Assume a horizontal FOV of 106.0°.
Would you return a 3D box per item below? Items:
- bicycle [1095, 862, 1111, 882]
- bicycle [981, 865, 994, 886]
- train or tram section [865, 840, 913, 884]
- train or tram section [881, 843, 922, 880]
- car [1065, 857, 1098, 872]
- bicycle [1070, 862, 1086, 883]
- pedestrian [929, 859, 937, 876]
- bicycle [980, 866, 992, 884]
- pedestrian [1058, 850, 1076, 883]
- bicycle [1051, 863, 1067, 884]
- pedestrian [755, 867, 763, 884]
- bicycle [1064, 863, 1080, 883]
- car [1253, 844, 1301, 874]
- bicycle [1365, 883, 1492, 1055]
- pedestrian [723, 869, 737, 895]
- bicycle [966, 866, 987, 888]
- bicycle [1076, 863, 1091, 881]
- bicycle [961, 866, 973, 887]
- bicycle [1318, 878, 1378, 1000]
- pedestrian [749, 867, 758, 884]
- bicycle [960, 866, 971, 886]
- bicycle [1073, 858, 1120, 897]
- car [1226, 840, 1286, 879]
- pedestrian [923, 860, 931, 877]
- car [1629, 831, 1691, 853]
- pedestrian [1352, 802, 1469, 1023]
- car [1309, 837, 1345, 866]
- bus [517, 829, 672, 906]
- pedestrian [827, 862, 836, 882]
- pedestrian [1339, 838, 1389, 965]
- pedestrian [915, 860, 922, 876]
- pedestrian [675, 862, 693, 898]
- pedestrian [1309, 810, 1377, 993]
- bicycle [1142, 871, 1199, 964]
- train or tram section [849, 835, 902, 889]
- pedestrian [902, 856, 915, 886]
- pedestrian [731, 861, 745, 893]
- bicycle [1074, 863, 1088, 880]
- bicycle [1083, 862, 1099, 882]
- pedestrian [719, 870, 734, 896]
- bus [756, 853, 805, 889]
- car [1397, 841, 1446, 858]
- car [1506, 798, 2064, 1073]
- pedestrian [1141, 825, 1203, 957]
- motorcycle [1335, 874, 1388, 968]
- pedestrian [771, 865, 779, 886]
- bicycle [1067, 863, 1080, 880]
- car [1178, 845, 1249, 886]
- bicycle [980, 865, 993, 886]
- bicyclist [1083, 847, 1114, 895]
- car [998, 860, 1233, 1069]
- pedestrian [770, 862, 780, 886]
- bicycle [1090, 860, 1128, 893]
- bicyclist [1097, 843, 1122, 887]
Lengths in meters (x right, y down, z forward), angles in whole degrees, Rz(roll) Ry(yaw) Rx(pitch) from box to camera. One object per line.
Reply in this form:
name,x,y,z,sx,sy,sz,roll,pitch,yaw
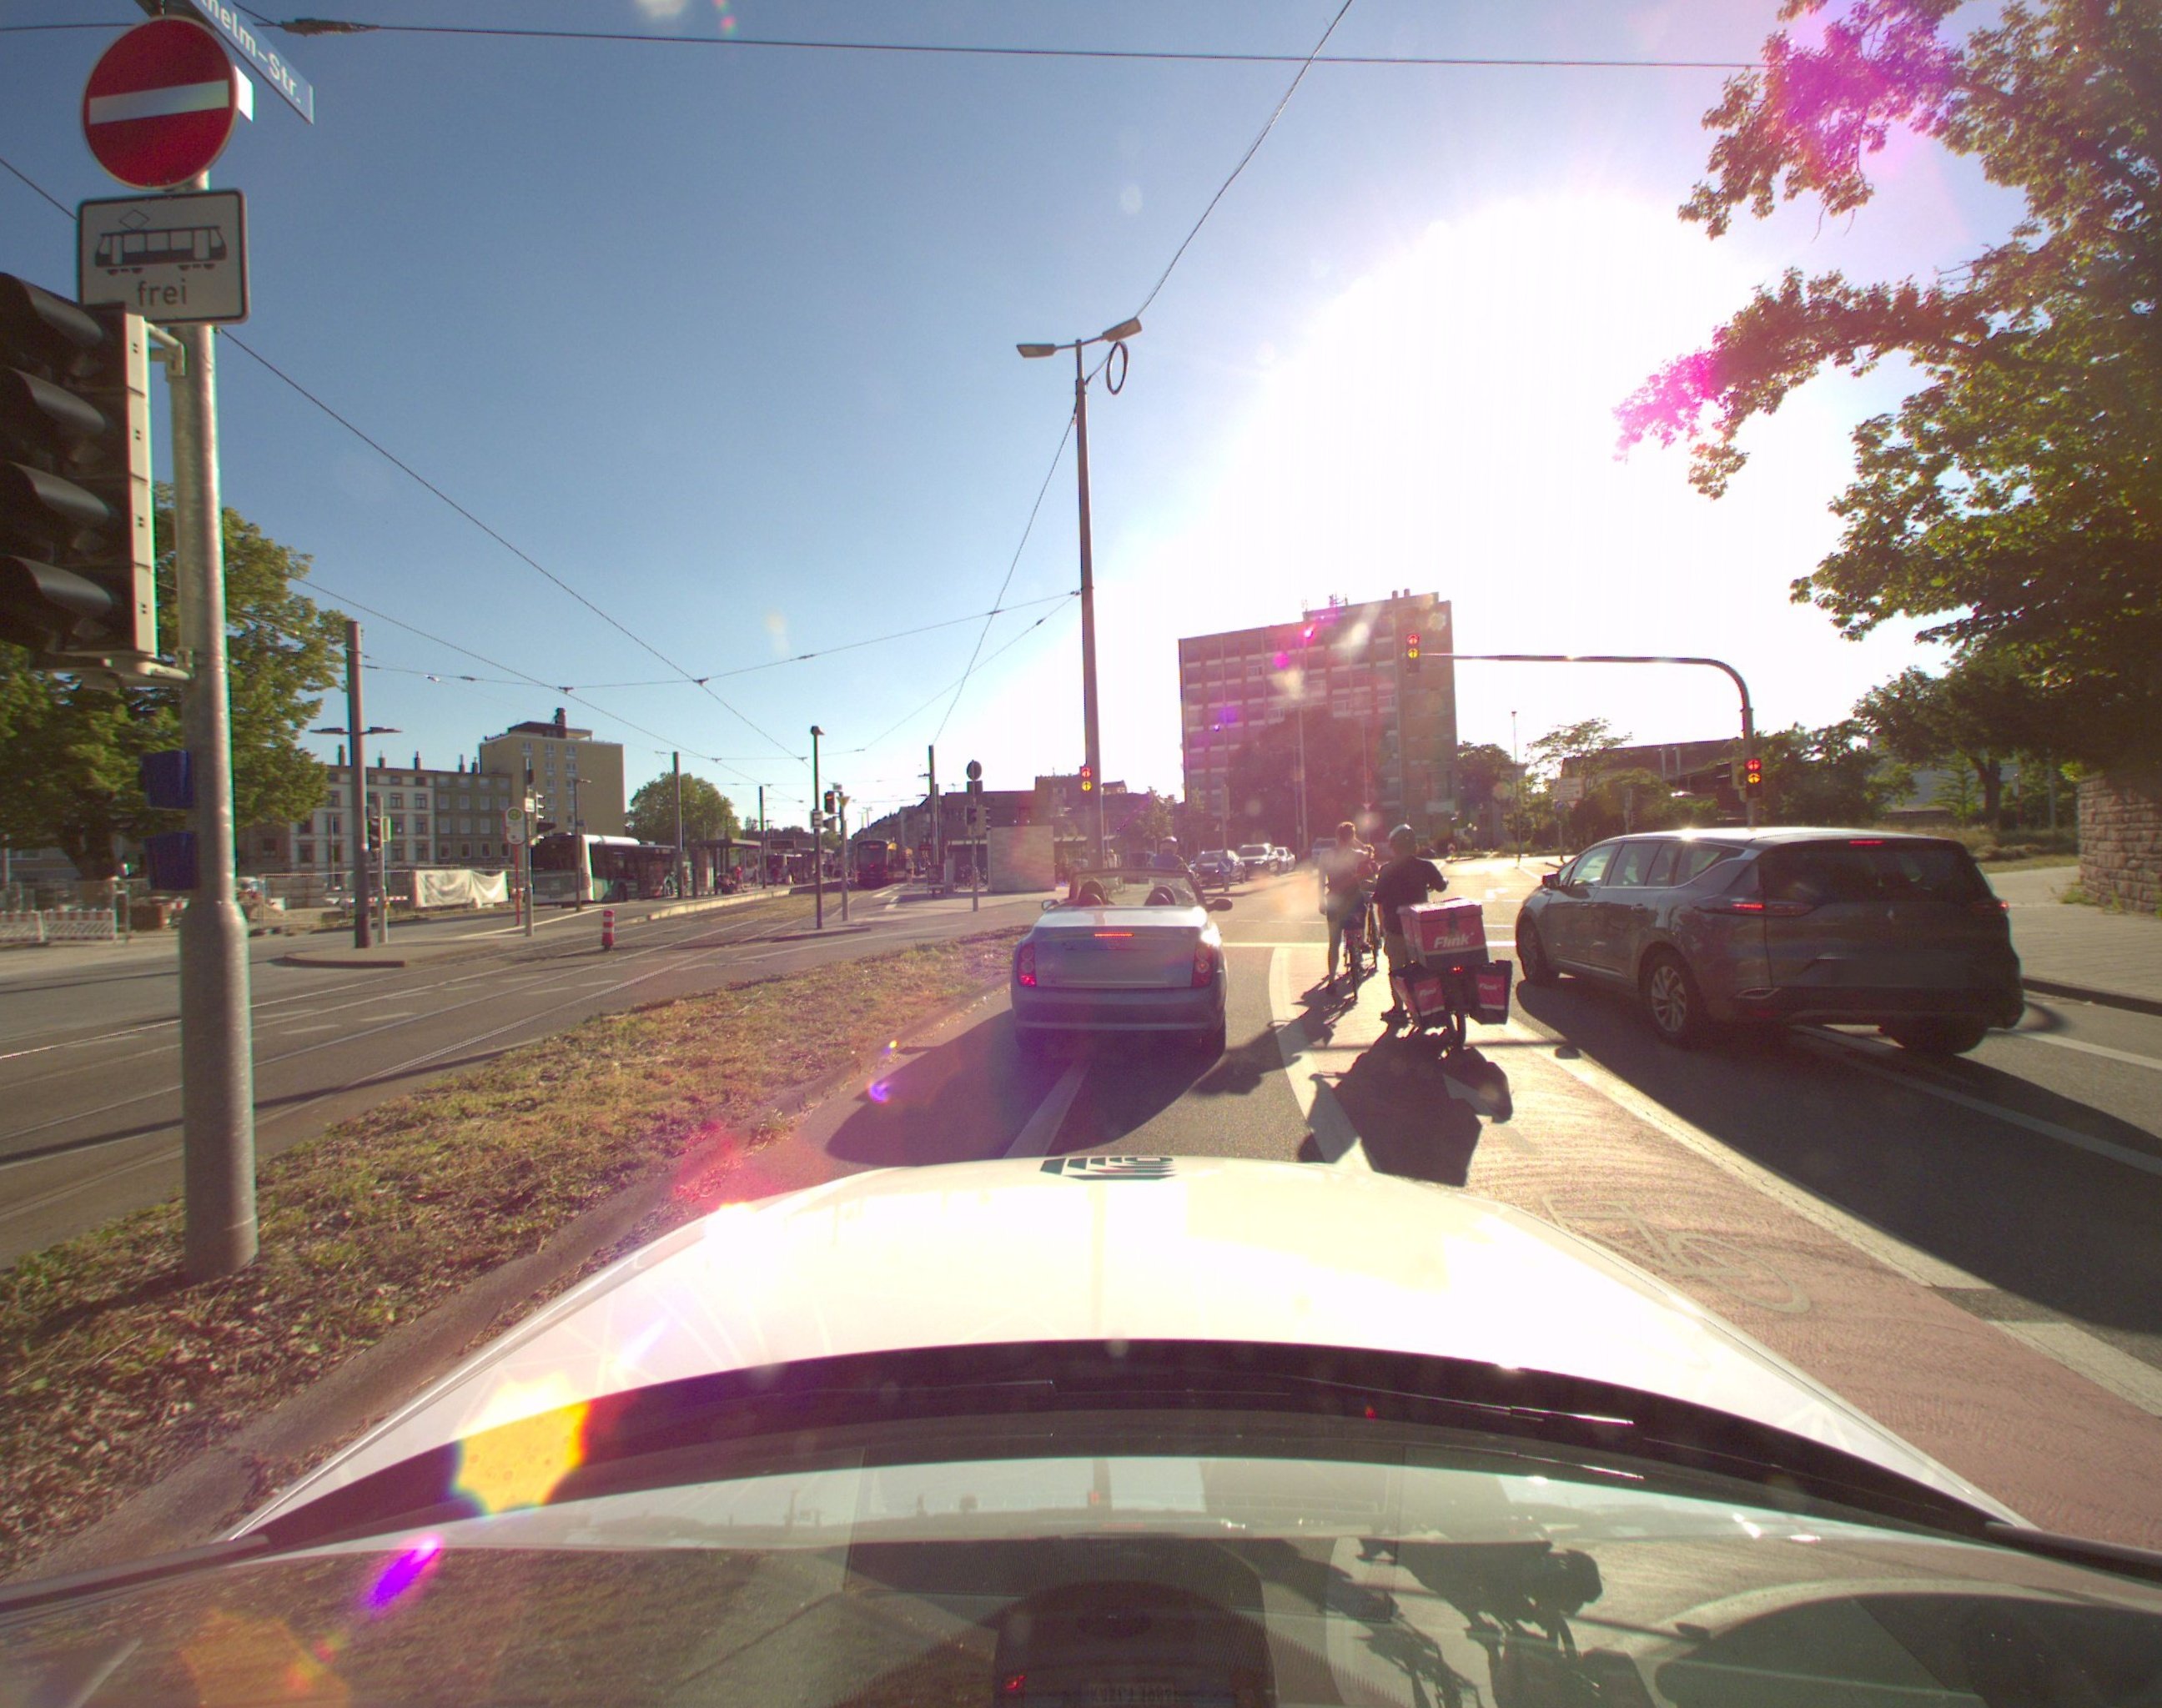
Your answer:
bicycle,1.238,1.004,45.682,0.606,1.115,1.892,0,-1,-7
bicycle,-5.375,1.222,46.738,0.607,1.115,1.890,0,-1,-10
train or tram section,-17.067,0.701,73.260,3.010,3.597,12.165,0,0,-8
train or tram section,-18.601,0.809,85.232,3.037,3.597,12.021,0,0,-7
car,0.031,1.170,88.659,1.653,1.560,3.559,-2,0,-37
bicycle,-0.180,1.013,45.414,0.607,1.115,1.890,0,-1,-10
pedestrian,-15.334,1.364,84.422,0.639,1.749,0.732,-2,-1,-17
bicycle,-5.902,1.284,50.627,0.607,1.115,1.890,0,-1,-10
pedestrian,-0.817,0.693,46.889,0.901,1.869,0.684,0,-1,-11
bicycle,-1.254,1.079,45.298,0.607,1.115,1.890,0,-1,-10
pedestrian,-34.097,2.315,86.226,0.638,1.749,0.570,-2,-1,-10
bicycle,-0.543,1.090,47.355,0.607,1.115,1.890,0,-1,-10
car,11.165,0.249,46.219,1.678,1.560,4.004,-3,0,28
bicycle,2.933,0.872,7.097,0.550,1.171,2.380,-1,-1,12
pedestrian,-18.733,1.471,43.466,0.571,1.346,0.636,-2,-1,-15
bicycle,-5.467,1.201,42.738,0.603,1.115,1.901,0,-1,8
bicycle,0.130,1.135,51.417,0.607,1.115,1.890,0,-1,-10
bicycle,-6.213,1.229,44.362,0.607,1.115,1.890,0,-1,-10
bicycle,2.932,0.870,9.024,0.559,1.151,1.958,-1,-1,17
pedestrian,-34.755,2.318,86.411,0.637,1.749,0.571,-2,-1,-5
bicycle,-6.561,1.248,46.297,0.606,1.115,1.891,0,-1,-8
bicycle,0.581,0.812,28.761,0.668,1.250,2.471,-5,-1,24
car,8.598,0.215,39.705,1.745,1.706,4.557,-4,-1,26
pedestrian,-15.834,1.460,83.801,0.639,1.749,0.732,-2,-1,-17
car,47.881,-0.972,67.414,3.949,1.530,1.816,-4,-1,28
pedestrian,2.976,0.501,7.450,0.801,1.869,0.959,-1,-1,10
car,18.148,-0.179,59.944,1.891,1.945,4.733,-4,-1,24
bus,-22.371,0.570,38.225,2.652,3.135,9.617,0,-1,-8
pedestrian,-22.058,1.572,71.998,0.641,1.749,0.567,-2,-1,-25
pedestrian,3.769,0.604,10.848,0.583,1.598,1.030,-1,-1,19
pedestrian,-18.073,1.526,90.538,0.604,1.749,0.830,-2,-1,-6
pedestrian,-19.622,1.269,40.267,0.536,1.749,0.559,-2,-1,-4
pedestrian,2.835,0.489,8.842,0.654,1.869,0.876,-1,-1,17
bicycle,1.356,0.864,11.990,0.604,1.191,2.422,-1,-1,12
train or tram section,-15.262,0.579,61.219,2.881,3.597,12.158,0,-1,-10
pedestrian,-10.378,0.997,48.934,0.639,1.749,0.569,-2,-1,-17
pedestrian,-19.112,1.272,45.342,0.571,1.749,0.636,-2,-1,-15
bicycle,-0.031,1.129,53.394,0.607,1.115,1.890,0,-1,-10
bicycle,0.556,1.053,47.717,0.607,1.115,1.890,0,-1,-10
pedestrian,-18.603,1.518,42.779,0.617,1.340,0.438,-2,-1,-15
bus,-29.669,1.583,80.951,2.723,3.274,13.409,0,-1,-12
car,35.458,-0.434,84.846,4.337,1.530,1.817,-4,-1,35
car,5.539,0.521,7.323,1.820,1.689,4.381,-1,-1,10
pedestrian,1.368,0.525,12.060,0.828,1.869,0.923,-1,-1,10
motorcycle,3.826,0.843,11.107,0.608,1.097,2.371,-1,-1,19
pedestrian,-25.270,1.773,67.256,0.571,1.749,0.636,-2,-1,-17
bicycle,-0.558,1.202,56.914,0.607,1.115,1.890,0,-1,-10
car,5.546,0.467,33.645,1.720,1.574,3.948,-1,-1,28
bicycle,-5.178,1.191,44.668,0.607,1.115,1.890,0,-1,-10
bicyclist,0.627,0.594,28.907,0.702,1.657,0.906,-5,-2,24
car,0.548,0.781,7.799,1.650,1.441,4.164,-1,-1,9
pedestrian,-23.124,1.497,61.487,0.641,1.749,0.567,-2,-1,-25
bicycle,1.107,0.846,31.471,0.668,1.180,2.195,-3,0,24
bicyclist,1.104,0.426,31.509,0.702,1.657,0.747,-3,-1,24
